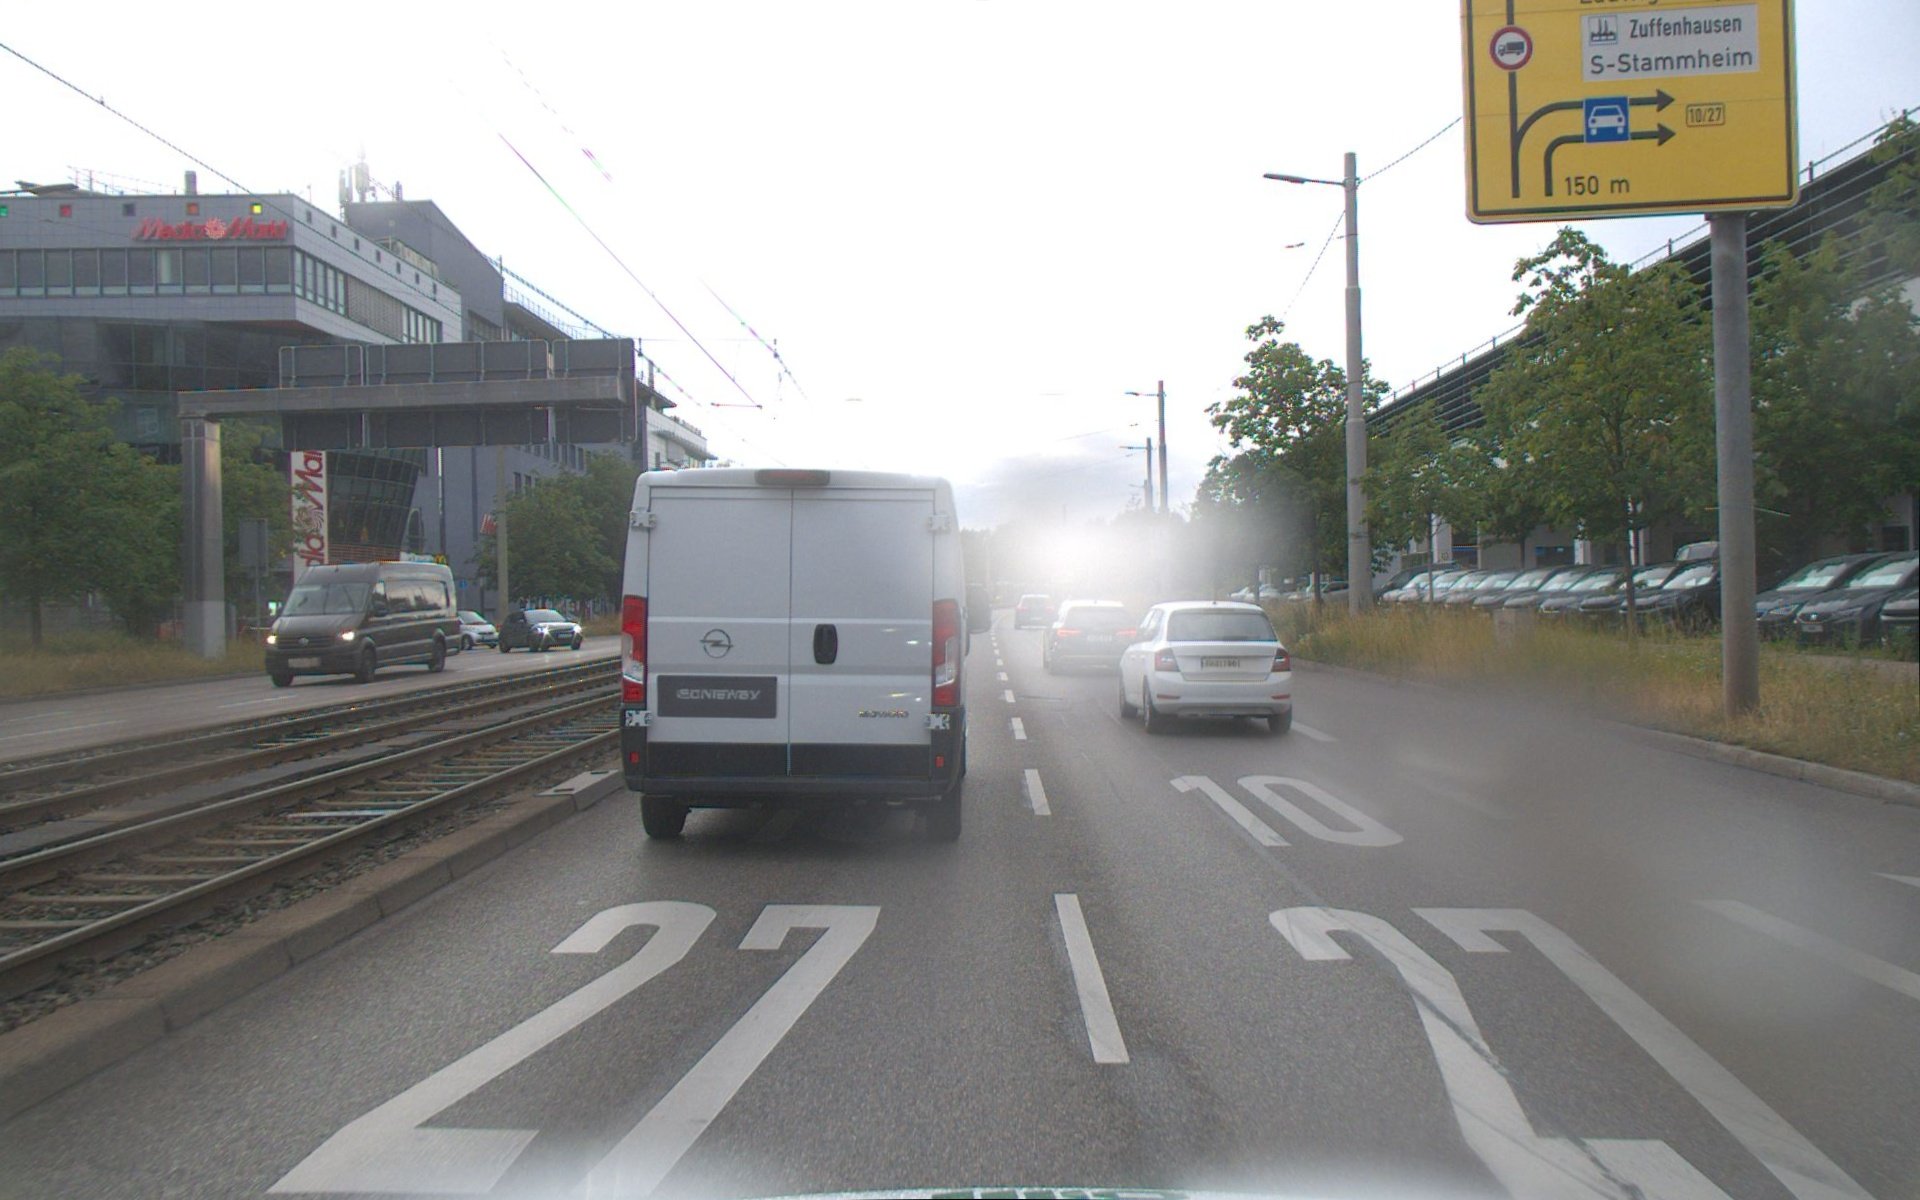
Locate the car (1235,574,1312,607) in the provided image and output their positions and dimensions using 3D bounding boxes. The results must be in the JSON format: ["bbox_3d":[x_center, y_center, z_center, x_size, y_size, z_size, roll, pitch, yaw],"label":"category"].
[{"bbox_3d":[17.226,-0.546,90.831,4.054,1.596,1.777,-3,-1,-36],"label":"car"}]

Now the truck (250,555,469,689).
[{"bbox_3d":[-13.269,0.446,37.174,2.193,2.609,7.015,-3,0,0],"label":"truck"}]

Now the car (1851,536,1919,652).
[{"bbox_3d":[16.047,-0.205,24.926,4.405,1.692,1.816,-3,0,-11],"label":"car"}]

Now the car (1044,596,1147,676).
[{"bbox_3d":[2.639,0.668,32.993,1.753,1.474,4.000,0,0,0],"label":"car"}]

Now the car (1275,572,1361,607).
[{"bbox_3d":[17.662,-0.535,81.464,4.048,1.491,1.729,-3,-1,-32],"label":"car"}]

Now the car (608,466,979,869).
[{"bbox_3d":[-0.902,0.355,11.783,2.047,2.235,5.061,0,0,1],"label":"car"}]

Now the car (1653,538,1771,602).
[{"bbox_3d":[24.984,-0.969,55.117,1.848,1.972,4.429,-2,0,0],"label":"car"}]

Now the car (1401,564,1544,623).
[{"bbox_3d":[16.186,-0.213,52.246,4.085,1.632,1.813,-3,0,-24],"label":"car"}]

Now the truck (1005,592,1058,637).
[{"bbox_3d":[3.024,0.583,70.571,1.953,1.822,4.413,-2,0,-1],"label":"truck"}]

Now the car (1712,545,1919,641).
[{"bbox_3d":[16.037,-0.156,30.146,3.972,1.528,1.683,-3,0,-11],"label":"car"}]

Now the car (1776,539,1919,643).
[{"bbox_3d":[16.260,-0.228,27.715,4.405,1.596,1.816,-3,0,-11],"label":"car"}]

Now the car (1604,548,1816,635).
[{"bbox_3d":[15.974,-0.177,35.236,3.983,1.603,1.723,-3,0,-19],"label":"car"}]

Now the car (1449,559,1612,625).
[{"bbox_3d":[16.039,-0.222,46.521,4.082,1.597,1.896,-3,0,-22],"label":"car"}]

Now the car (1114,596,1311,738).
[{"bbox_3d":[2.897,0.721,19.703,1.711,1.483,3.670,1,0,-1],"label":"car"}]

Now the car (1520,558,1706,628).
[{"bbox_3d":[16.151,-0.171,40.948,4.077,1.484,1.784,-3,0,-19],"label":"car"}]

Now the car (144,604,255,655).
[{"bbox_3d":[-33.352,1.277,72.629,3.910,2.049,1.998,-2,0,-6],"label":"car"}]

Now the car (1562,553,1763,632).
[{"bbox_3d":[16.118,-0.161,37.974,4.077,1.561,1.784,-3,0,-19],"label":"car"}]

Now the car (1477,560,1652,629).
[{"bbox_3d":[15.984,-0.146,43.752,4.077,1.554,1.821,-3,0,-19],"label":"car"}]

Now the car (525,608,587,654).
[{"bbox_3d":[-14.152,1.046,58.097,1.770,1.454,4.226,-3,0,-10],"label":"car"}]

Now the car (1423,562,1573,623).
[{"bbox_3d":[16.066,-0.222,49.408,4.085,1.597,1.813,-3,0,-24],"label":"car"}]

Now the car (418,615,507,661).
[{"bbox_3d":[-19.690,1.506,65.546,2.878,1.563,1.605,-3,3,14],"label":"car"}]

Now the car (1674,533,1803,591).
[{"bbox_3d":[29.559,-1.431,62.862,3.944,2.010,1.945,-2,0,0],"label":"car"}]

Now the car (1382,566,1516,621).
[{"bbox_3d":[16.317,-0.212,55.169,4.088,1.589,1.854,-3,0,-26],"label":"car"}]
